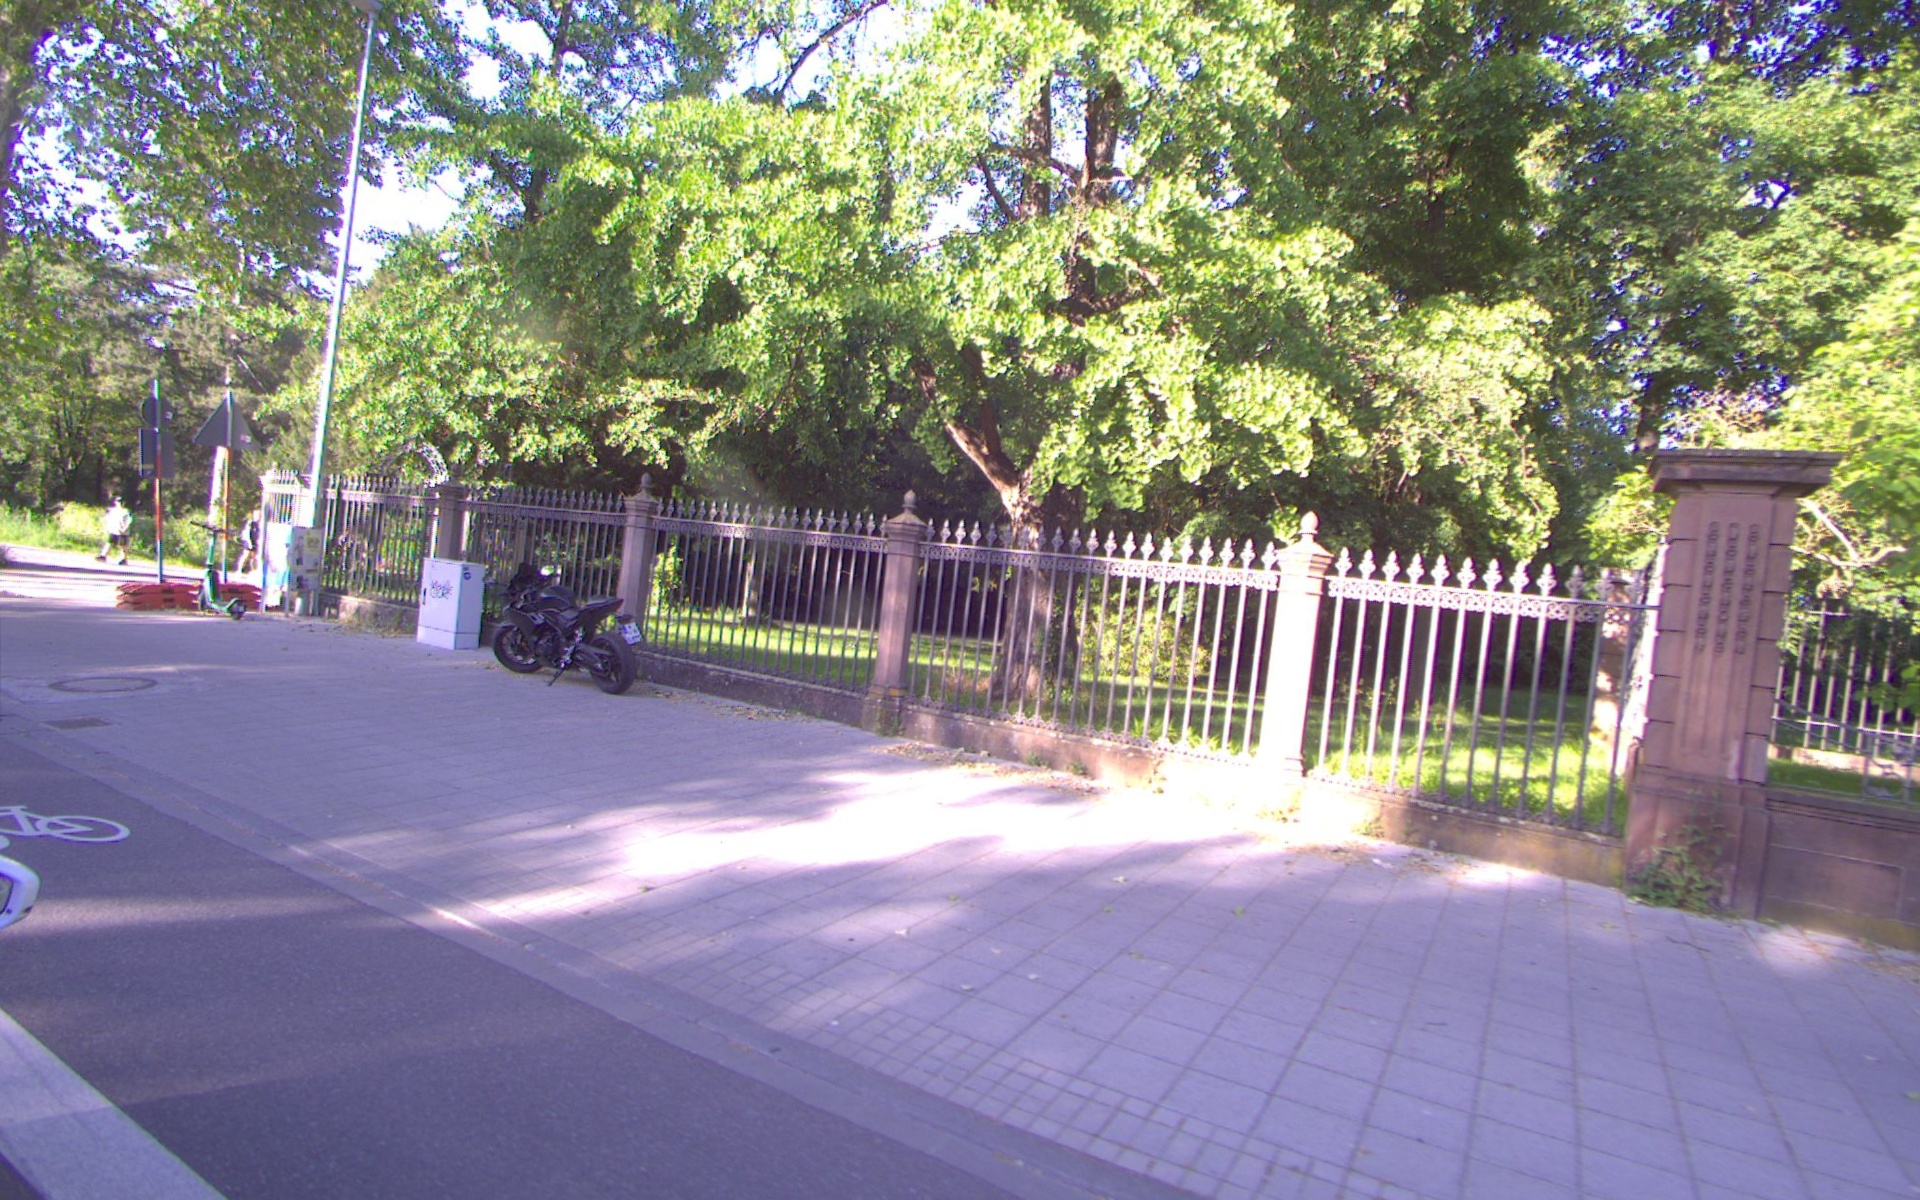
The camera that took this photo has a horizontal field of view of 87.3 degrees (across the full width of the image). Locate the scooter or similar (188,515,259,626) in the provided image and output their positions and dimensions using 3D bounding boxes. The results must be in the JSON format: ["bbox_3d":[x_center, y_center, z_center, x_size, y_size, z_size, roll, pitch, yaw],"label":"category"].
[{"bbox_3d":[-9.674,-0.403,13.204,1.152,1.344,0.228,7,2,30],"label":"scooter or similar"}]

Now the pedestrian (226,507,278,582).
[{"bbox_3d":[-17.442,-1.369,24.780,0.633,1.720,0.690,6,0,31],"label":"pedestrian"}]

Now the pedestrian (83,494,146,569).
[{"bbox_3d":[-18.916,-1.525,22.527,0.812,1.536,0.909,7,-1,-32],"label":"pedestrian"}]

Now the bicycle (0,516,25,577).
[{"bbox_3d":[-16.601,-0.950,16.208,0.736,0.988,2.098,7,1,19],"label":"bicycle"}]

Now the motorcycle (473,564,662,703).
[{"bbox_3d":[-4.010,0.306,10.192,2.134,1.146,0.506,6,2,30],"label":"motorcycle"}]

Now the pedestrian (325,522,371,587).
[{"bbox_3d":[-17.074,-1.277,28.076,0.823,1.702,0.685,6,0,-45],"label":"pedestrian"}]
